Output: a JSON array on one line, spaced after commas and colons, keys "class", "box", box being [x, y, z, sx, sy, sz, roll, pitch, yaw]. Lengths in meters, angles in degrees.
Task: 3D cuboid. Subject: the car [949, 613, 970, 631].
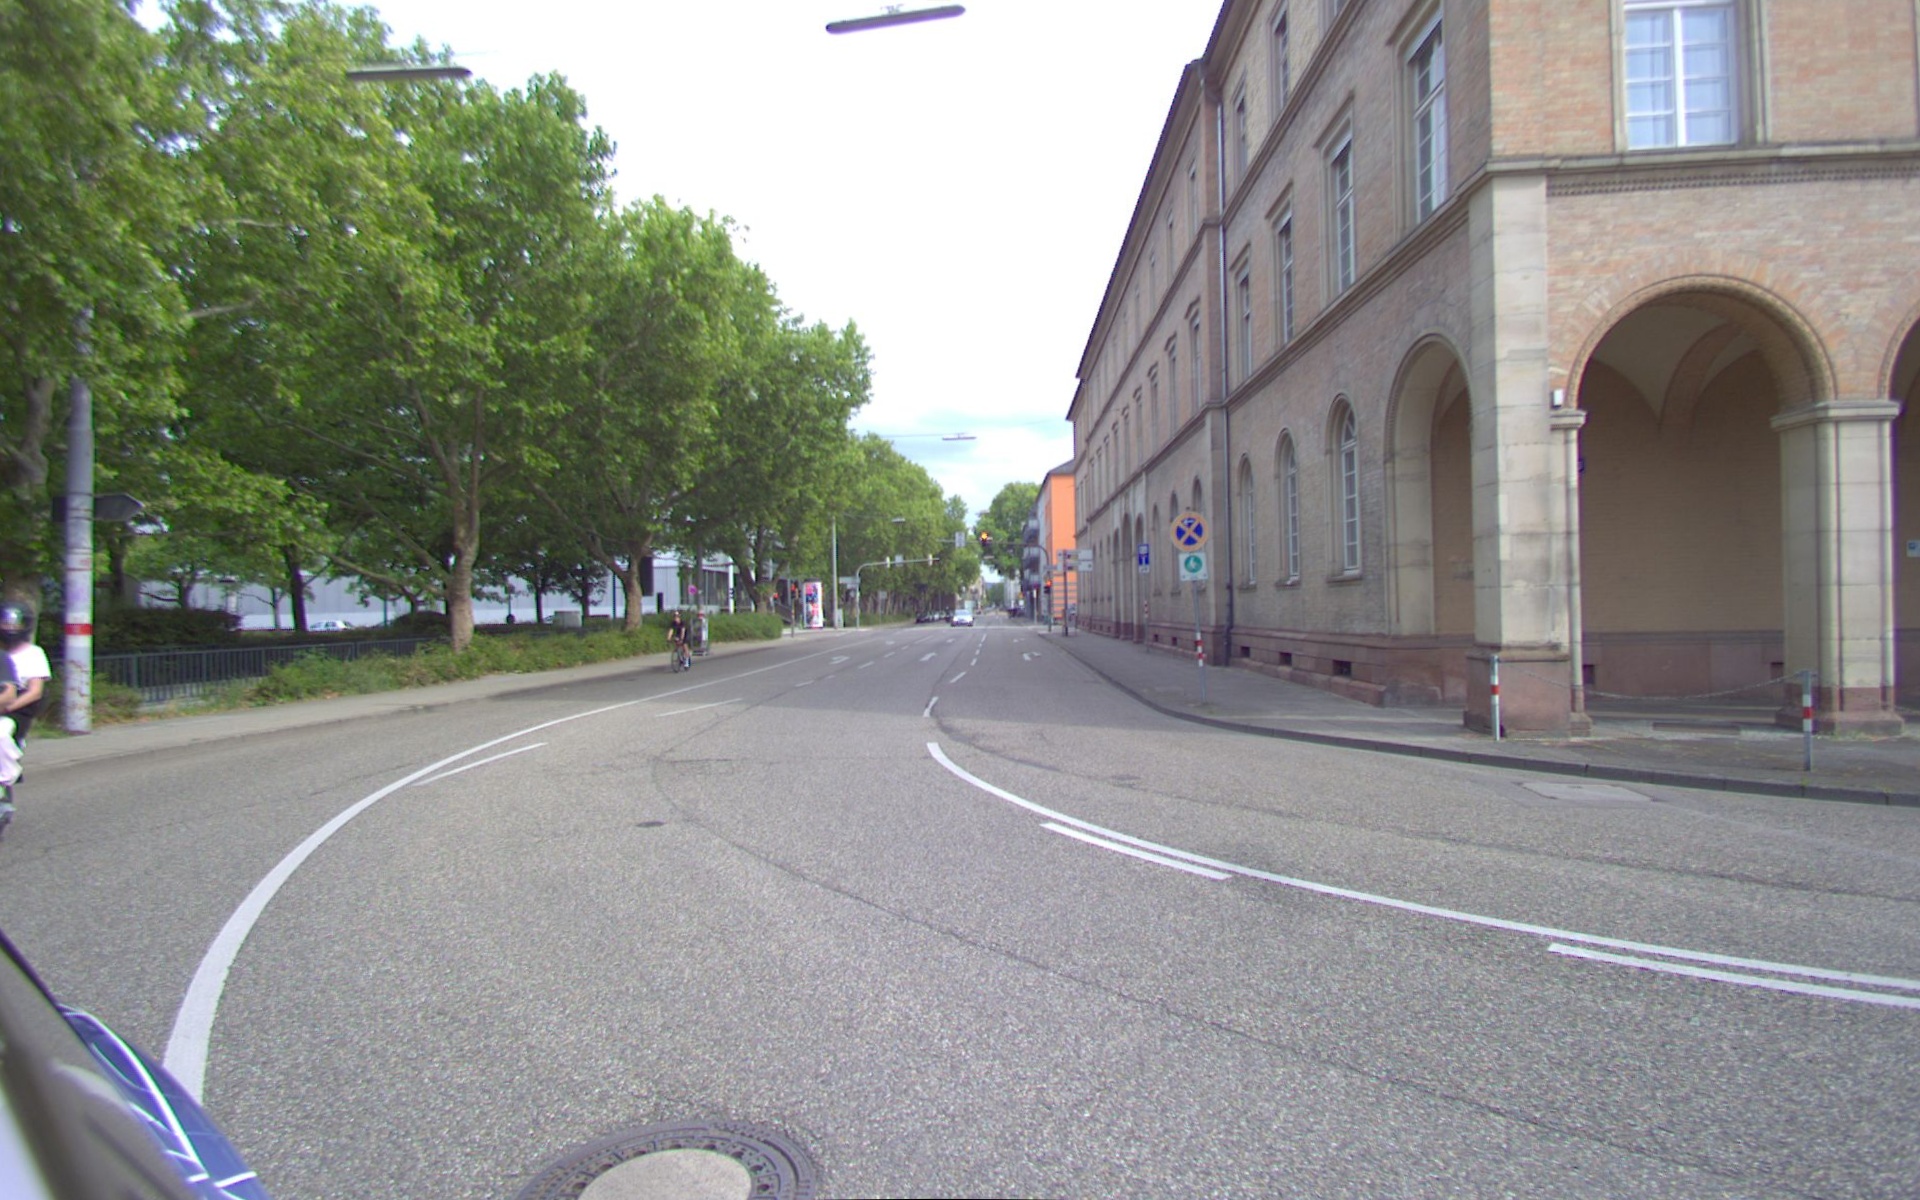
[{"class": "car", "box": [0.015, 1.816, 84.877, 1.651, 1.449, 3.818, -1, -1, 1]}]

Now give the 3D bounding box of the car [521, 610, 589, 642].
[{"class": "car", "box": [-28.680, 1.832, 71.773, 3.942, 2.029, 2.001, -3, -1, -2]}]

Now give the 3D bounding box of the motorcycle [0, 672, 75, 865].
[{"class": "motorcycle", "box": [-6.420, 1.080, 6.268, 0.768, 1.187, 1.999, 0, -2, -21]}]

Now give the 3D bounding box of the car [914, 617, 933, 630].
[{"class": "car", "box": [-4.741, 3.052, 130.747, 1.974, 1.553, 4.266, -3, -1, 4]}]

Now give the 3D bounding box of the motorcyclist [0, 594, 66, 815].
[{"class": "motorcyclist", "box": [-6.663, 0.692, 6.819, 0.768, 1.438, 0.691, 0, -2, -25]}]

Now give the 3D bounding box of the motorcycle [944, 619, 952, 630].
[{"class": "motorcycle", "box": [-1.311, 2.706, 110.844, 0.771, 1.187, 1.993, -3, -2, -1]}]

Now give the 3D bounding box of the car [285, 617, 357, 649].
[{"class": "car", "box": [-46.717, 2.402, 74.063, 3.938, 2.029, 2.003, -3, -1, -7]}]

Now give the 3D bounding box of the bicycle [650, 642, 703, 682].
[{"class": "bicycle", "box": [-8.167, 1.760, 29.261, 0.761, 1.023, 2.406, -3, -1, 2]}]

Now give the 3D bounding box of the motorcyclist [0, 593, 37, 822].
[{"class": "motorcyclist", "box": [-6.414, 0.680, 6.285, 0.768, 1.438, 0.766, 0, -2, -23]}]

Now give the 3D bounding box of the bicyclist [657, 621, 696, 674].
[{"class": "bicyclist", "box": [-8.188, 1.356, 29.256, 0.774, 1.458, 0.913, -3, -1, 3]}]

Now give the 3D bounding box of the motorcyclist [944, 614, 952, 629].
[{"class": "motorcyclist", "box": [-1.327, 2.353, 110.845, 0.771, 1.673, 1.113, -3, -2, -1]}]
